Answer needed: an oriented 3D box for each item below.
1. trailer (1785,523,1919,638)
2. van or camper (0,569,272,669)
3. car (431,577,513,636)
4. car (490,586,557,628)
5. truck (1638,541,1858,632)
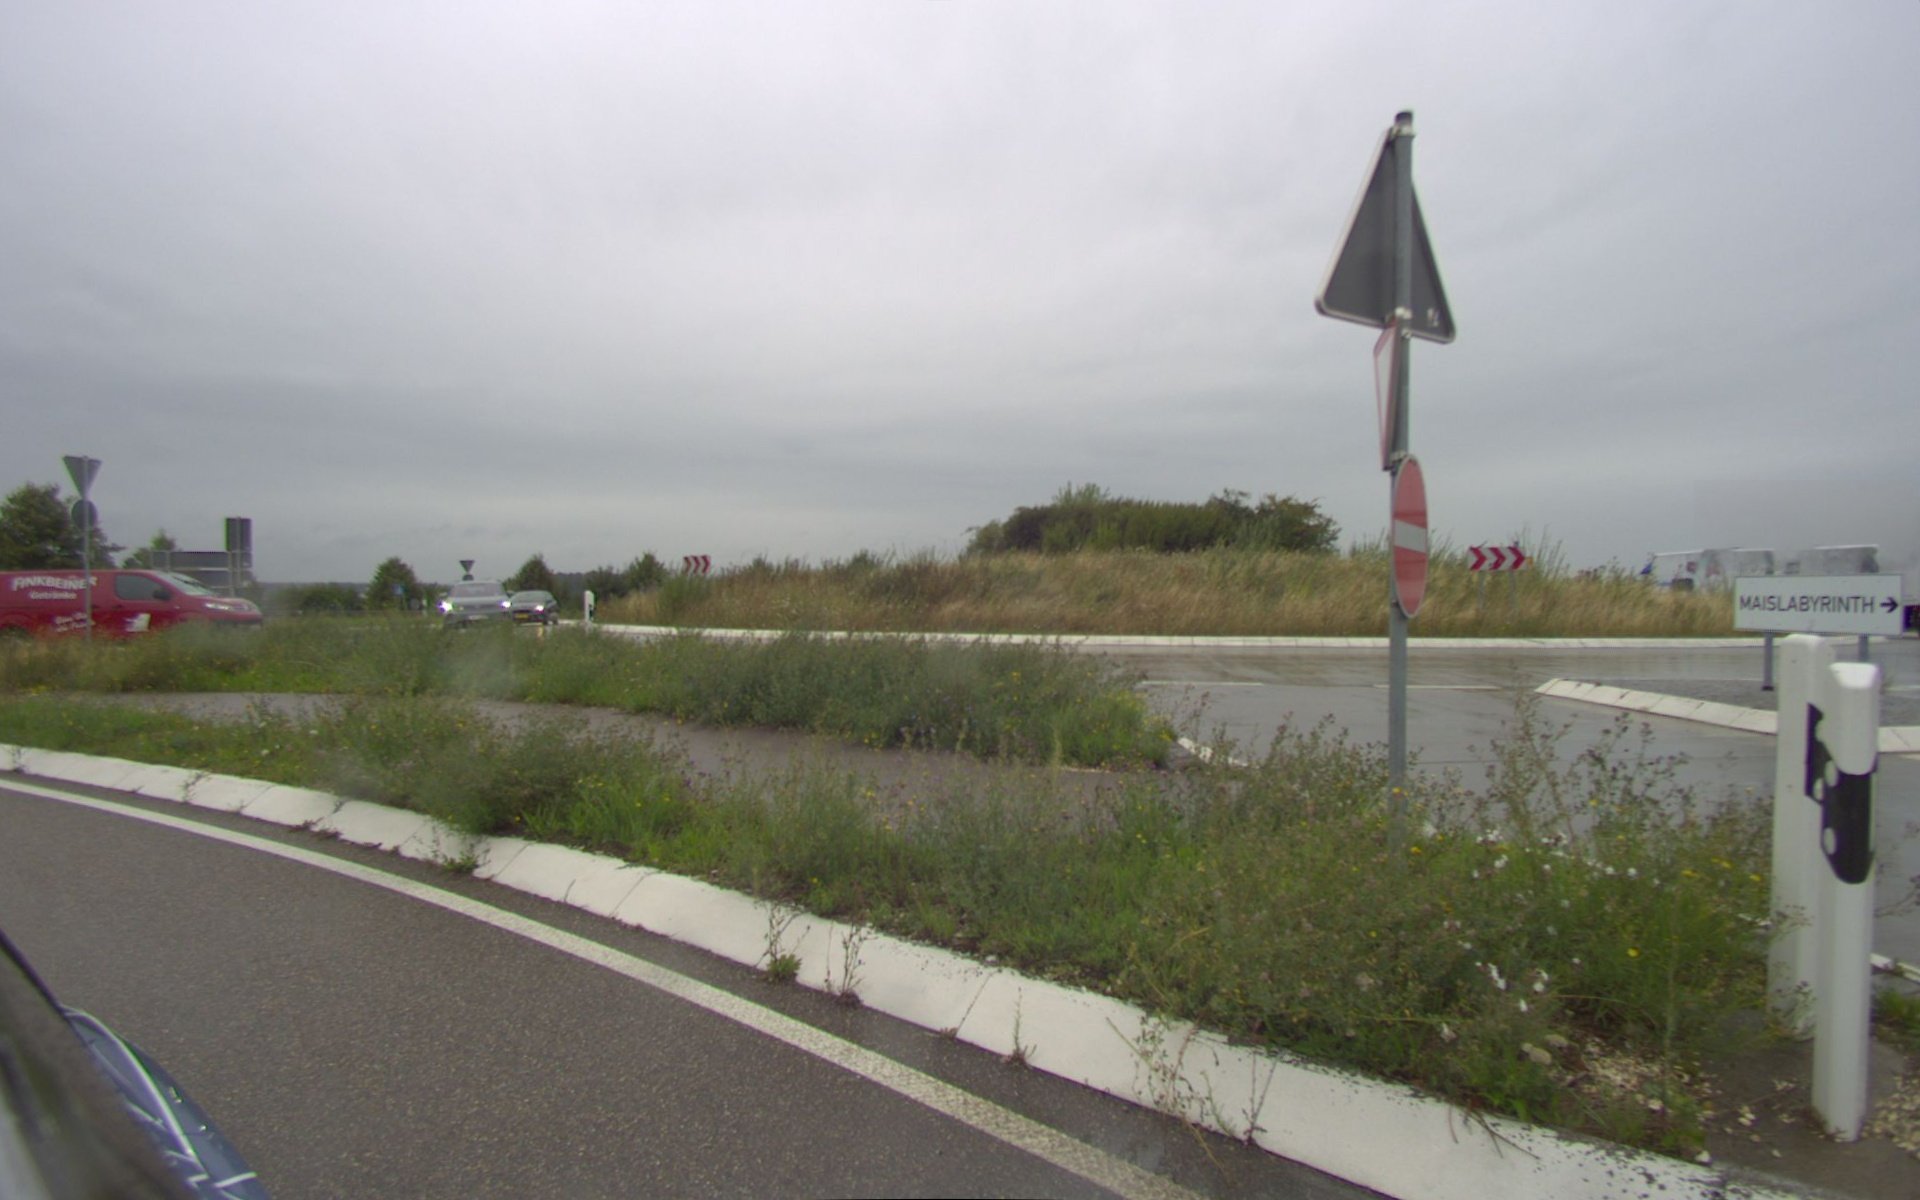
[{"bbox_3d":[33.257,-0.592,35.869,3.074,3.642,8.808,-1,-1,17],"label":"trailer"},{"bbox_3d":[-18.171,0.347,22.125,4.766,2.028,2.005,0,2,-13],"label":"van or camper"},{"bbox_3d":[-14.847,0.139,30.666,1.966,1.586,4.514,-3,2,-29],"label":"car"},{"bbox_3d":[-18.033,0.263,41.969,1.796,1.602,4.010,-3,1,-12],"label":"car"},{"bbox_3d":[34.358,-0.462,44.694,3.072,3.625,8.175,-1,-1,-1],"label":"truck"}]
